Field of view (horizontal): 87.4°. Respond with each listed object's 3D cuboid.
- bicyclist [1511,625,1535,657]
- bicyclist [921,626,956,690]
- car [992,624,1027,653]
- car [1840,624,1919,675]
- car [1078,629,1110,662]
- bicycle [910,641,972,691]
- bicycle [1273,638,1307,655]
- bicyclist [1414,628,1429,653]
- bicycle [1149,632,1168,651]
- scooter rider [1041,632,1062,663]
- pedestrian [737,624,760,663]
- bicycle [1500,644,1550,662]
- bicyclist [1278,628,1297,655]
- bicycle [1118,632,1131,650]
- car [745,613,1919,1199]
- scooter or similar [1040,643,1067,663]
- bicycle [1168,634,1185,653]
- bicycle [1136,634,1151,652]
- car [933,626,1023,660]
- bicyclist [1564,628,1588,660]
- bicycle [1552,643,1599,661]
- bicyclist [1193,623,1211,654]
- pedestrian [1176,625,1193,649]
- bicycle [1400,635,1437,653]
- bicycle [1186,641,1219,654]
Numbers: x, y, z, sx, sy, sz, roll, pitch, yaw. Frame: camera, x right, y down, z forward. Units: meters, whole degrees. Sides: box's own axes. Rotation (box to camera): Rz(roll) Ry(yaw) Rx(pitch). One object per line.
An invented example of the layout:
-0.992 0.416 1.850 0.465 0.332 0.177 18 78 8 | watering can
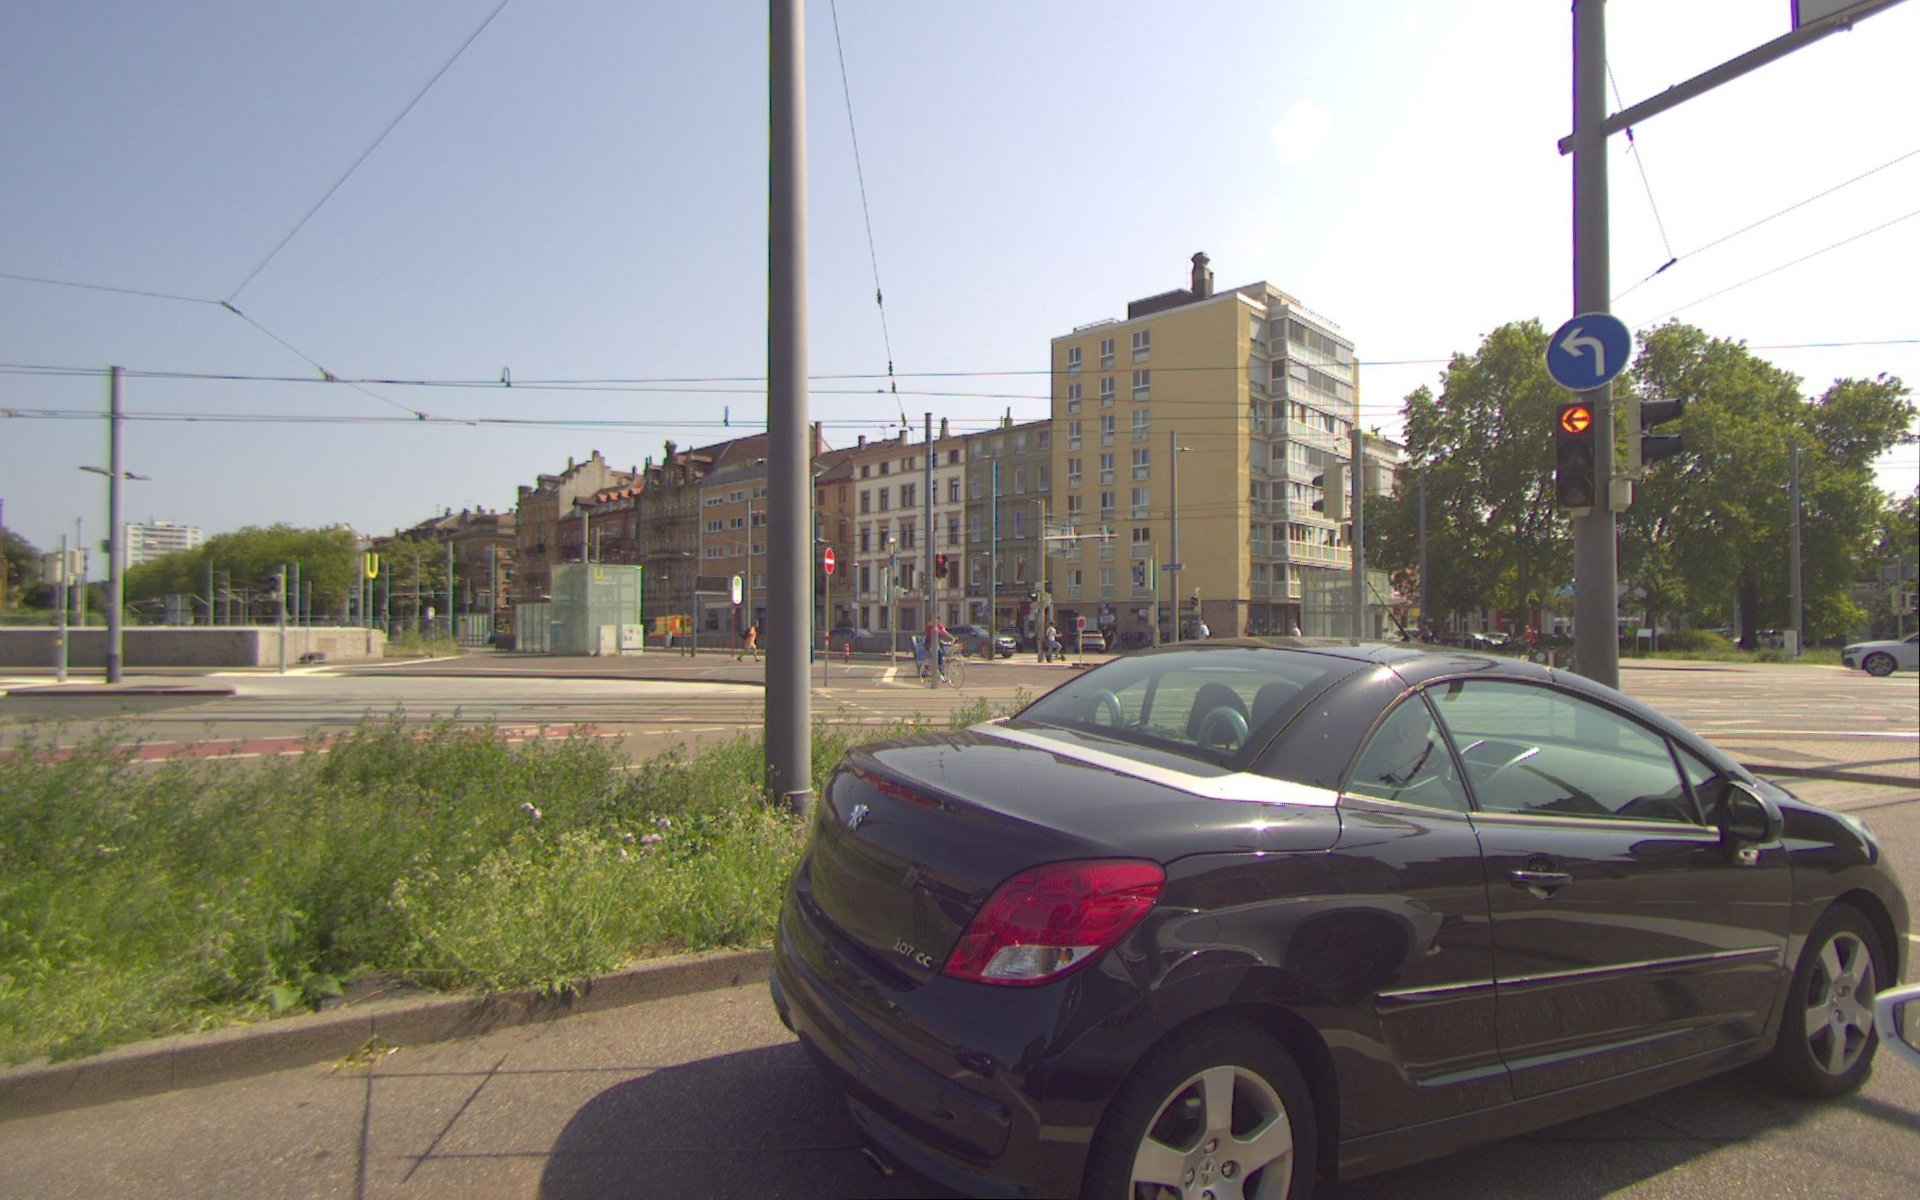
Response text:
26.761 1.943 47.768 0.494 1.502 0.863 2 -2 -42 | bicyclist
-0.520 1.380 24.128 0.632 1.529 0.553 1 -2 -36 | bicyclist
3.315 2.548 66.330 1.767 1.843 4.003 0 -2 10 | car
31.523 1.599 32.727 4.275 1.639 1.745 -1 -2 43 | car
8.226 2.762 61.538 1.767 1.951 4.003 0 -2 10 | car
-0.472 1.542 23.924 0.499 1.108 1.918 1 -2 -35 | bicycle
18.855 2.653 57.416 1.789 0.954 0.566 -1 -2 34 | bicycle
24.878 2.179 54.114 0.555 1.310 0.540 2 -2 -41 | bicyclist
13.255 2.771 67.305 0.892 1.220 3.265 0 -2 5 | bicycle
4.032 2.090 44.198 0.602 1.371 0.682 1 -2 -34 | scooter rider
-8.597 1.755 40.842 0.843 1.563 0.743 0 -2 -6 | pedestrian
26.832 2.486 47.700 0.476 0.813 2.030 2 -2 -41 | bicycle
18.748 2.368 57.498 0.898 1.528 0.557 -1 -2 35 | bicyclist
11.346 2.823 69.321 0.680 1.220 2.793 0 -2 5 | bicycle
1.349 0.786 3.337 3.731 1.406 1.760 1 0 -26 | car
4.096 2.321 44.131 1.132 0.835 0.517 1 -2 -35 | scooter or similar
14.218 2.853 66.117 0.680 1.220 3.265 0 -2 5 | bicycle
12.382 2.884 68.006 0.680 1.220 3.265 0 -2 5 | bicycle
0.847 2.092 50.024 4.479 1.621 1.762 -1 -2 43 | car
29.347 2.102 47.844 0.861 1.495 0.543 -1 -2 43 | bicyclist
29.308 2.487 47.861 1.836 0.813 0.604 -1 -2 43 | bicycle
14.716 2.343 61.098 0.494 1.831 0.915 2 -2 -41 | bicyclist
14.711 2.403 65.728 0.846 1.563 0.740 -1 -2 41 | pedestrian
24.778 2.395 54.327 0.413 0.954 1.798 2 -2 -41 | bicycle
14.746 2.880 61.047 0.476 0.813 2.030 2 -2 -41 | bicycle
